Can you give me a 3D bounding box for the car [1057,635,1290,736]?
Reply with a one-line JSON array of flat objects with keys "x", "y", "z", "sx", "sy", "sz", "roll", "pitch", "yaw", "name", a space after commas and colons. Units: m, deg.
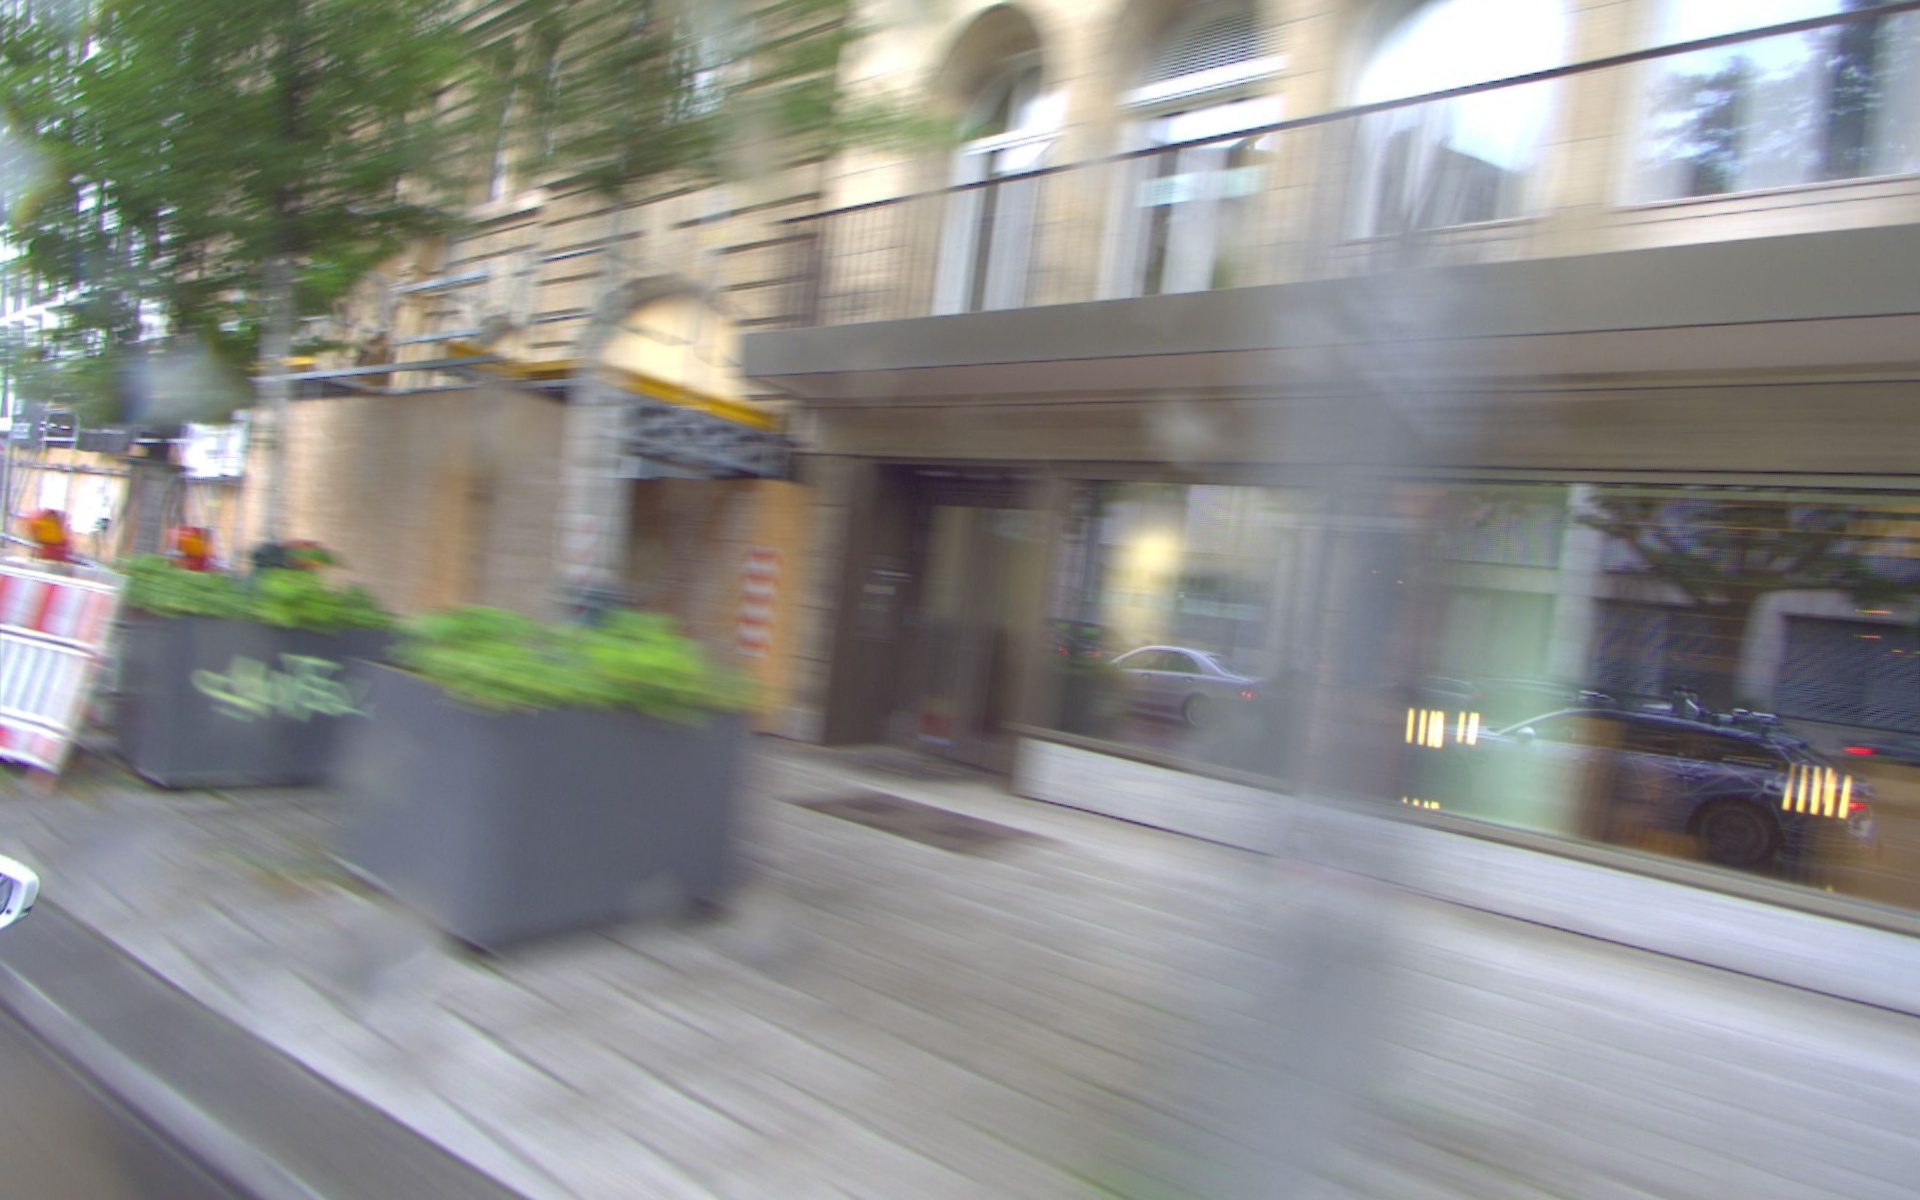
[{"x": 4.046, "y": 1.623, "z": 19.370, "sx": 3.940, "sy": 1.351, "sz": 1.666, "roll": 6, "pitch": -2, "yaw": 38, "name": "car"}]
